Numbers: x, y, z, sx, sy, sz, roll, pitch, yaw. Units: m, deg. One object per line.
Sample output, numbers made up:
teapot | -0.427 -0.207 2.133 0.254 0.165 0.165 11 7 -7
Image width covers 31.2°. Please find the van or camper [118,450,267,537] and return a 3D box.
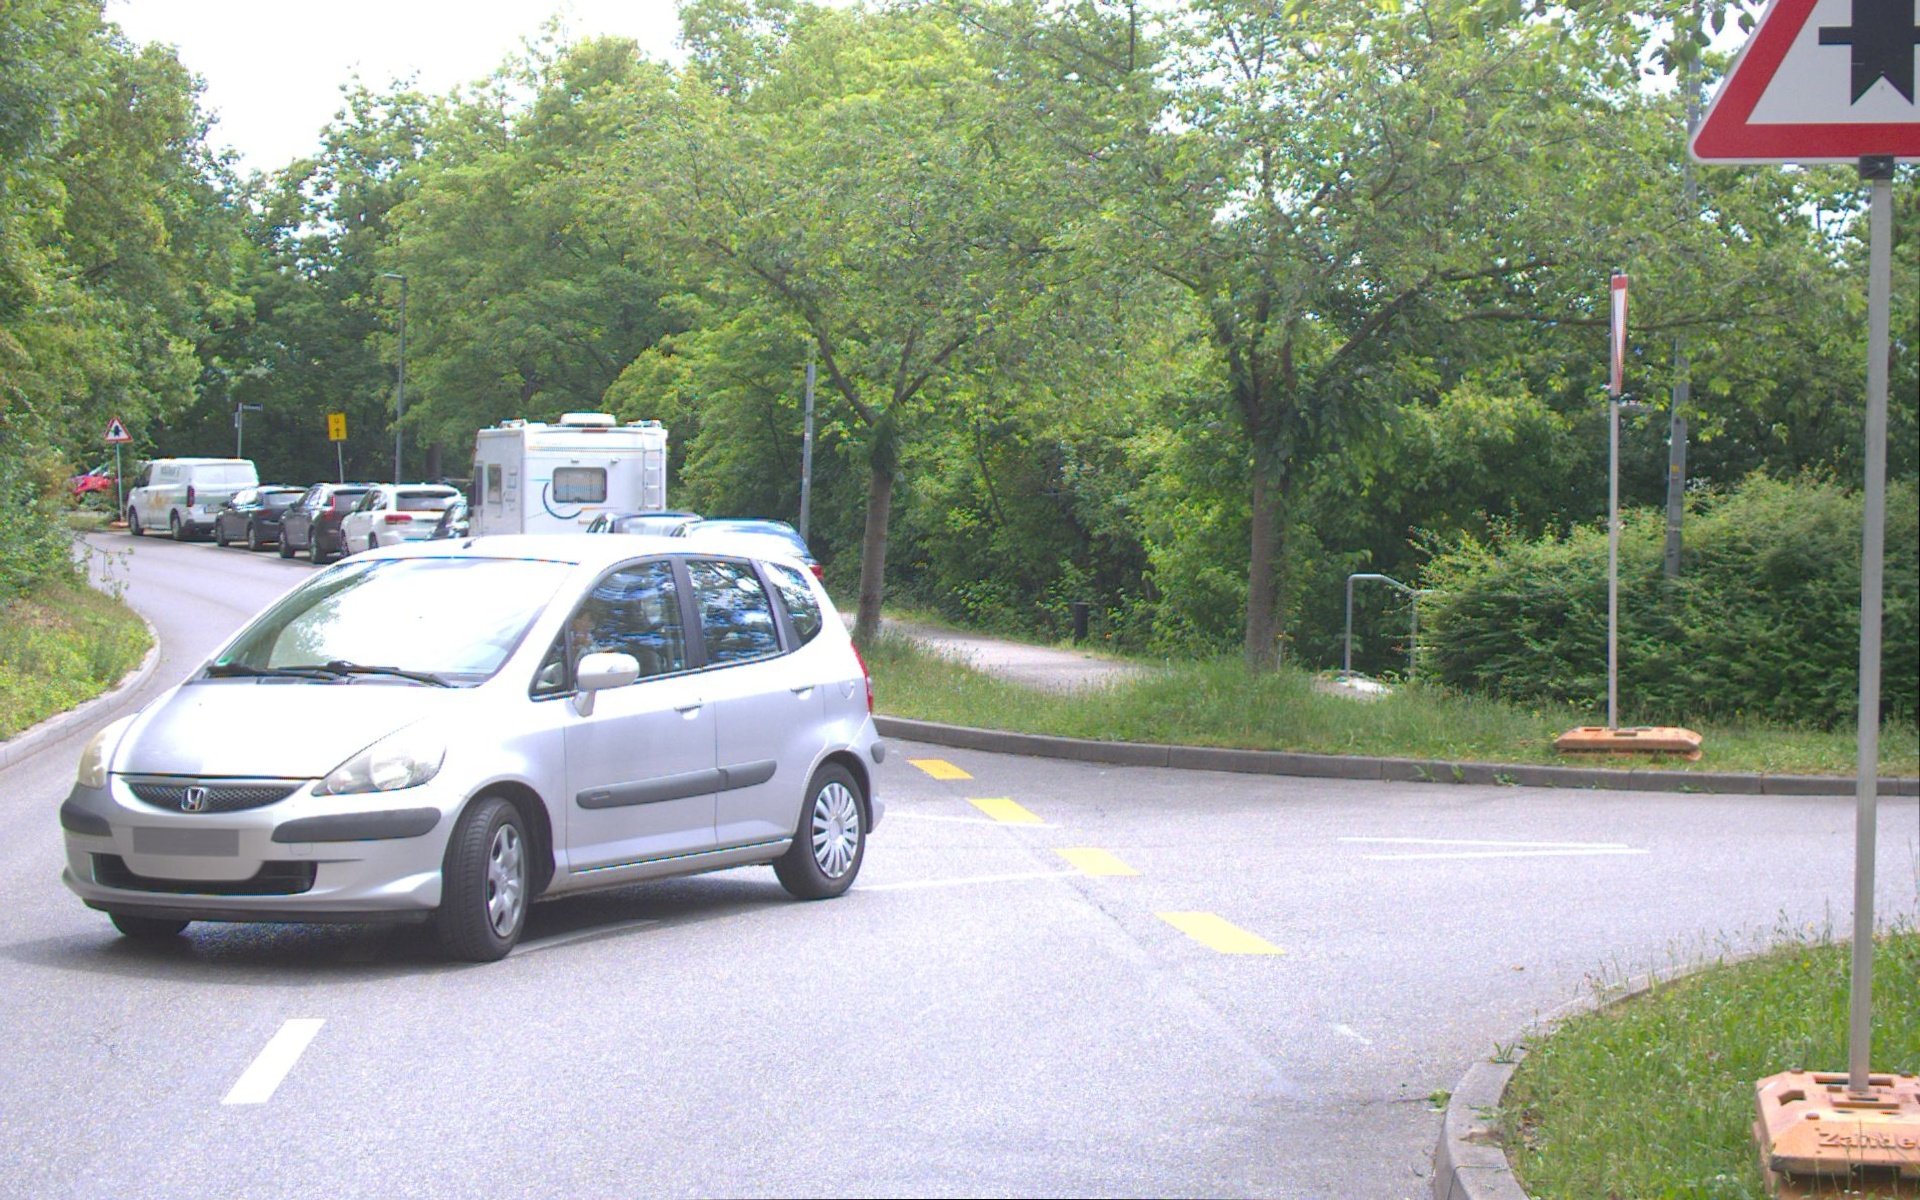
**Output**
van or camper | -18.755 -2.636 83.842 1.993 1.913 5.267 -2 4 -31

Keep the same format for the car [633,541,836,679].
car | -2.691 0.070 40.155 1.775 1.429 4.335 -1 2 -12

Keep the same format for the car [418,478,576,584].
car | -8.156 -1.246 60.314 1.710 1.585 4.001 -7 5 -20

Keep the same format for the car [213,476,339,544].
car | -15.686 -2.079 78.694 1.797 1.459 4.001 -1 3 -27

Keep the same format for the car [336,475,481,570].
car | -10.794 -1.539 67.055 1.871 1.683 4.581 1 3 -21

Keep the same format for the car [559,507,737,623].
car | -4.320 -0.498 47.132 1.728 1.514 3.890 -1 1 -16

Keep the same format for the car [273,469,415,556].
car | -13.002 -1.868 72.394 1.993 1.620 4.279 -3 4 -23

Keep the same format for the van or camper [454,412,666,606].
van or camper | -6.432 -1.475 54.559 2.332 2.859 6.153 1 2 -16

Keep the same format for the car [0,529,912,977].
car | -1.888 0.487 13.331 1.844 1.451 3.647 1 1 28
